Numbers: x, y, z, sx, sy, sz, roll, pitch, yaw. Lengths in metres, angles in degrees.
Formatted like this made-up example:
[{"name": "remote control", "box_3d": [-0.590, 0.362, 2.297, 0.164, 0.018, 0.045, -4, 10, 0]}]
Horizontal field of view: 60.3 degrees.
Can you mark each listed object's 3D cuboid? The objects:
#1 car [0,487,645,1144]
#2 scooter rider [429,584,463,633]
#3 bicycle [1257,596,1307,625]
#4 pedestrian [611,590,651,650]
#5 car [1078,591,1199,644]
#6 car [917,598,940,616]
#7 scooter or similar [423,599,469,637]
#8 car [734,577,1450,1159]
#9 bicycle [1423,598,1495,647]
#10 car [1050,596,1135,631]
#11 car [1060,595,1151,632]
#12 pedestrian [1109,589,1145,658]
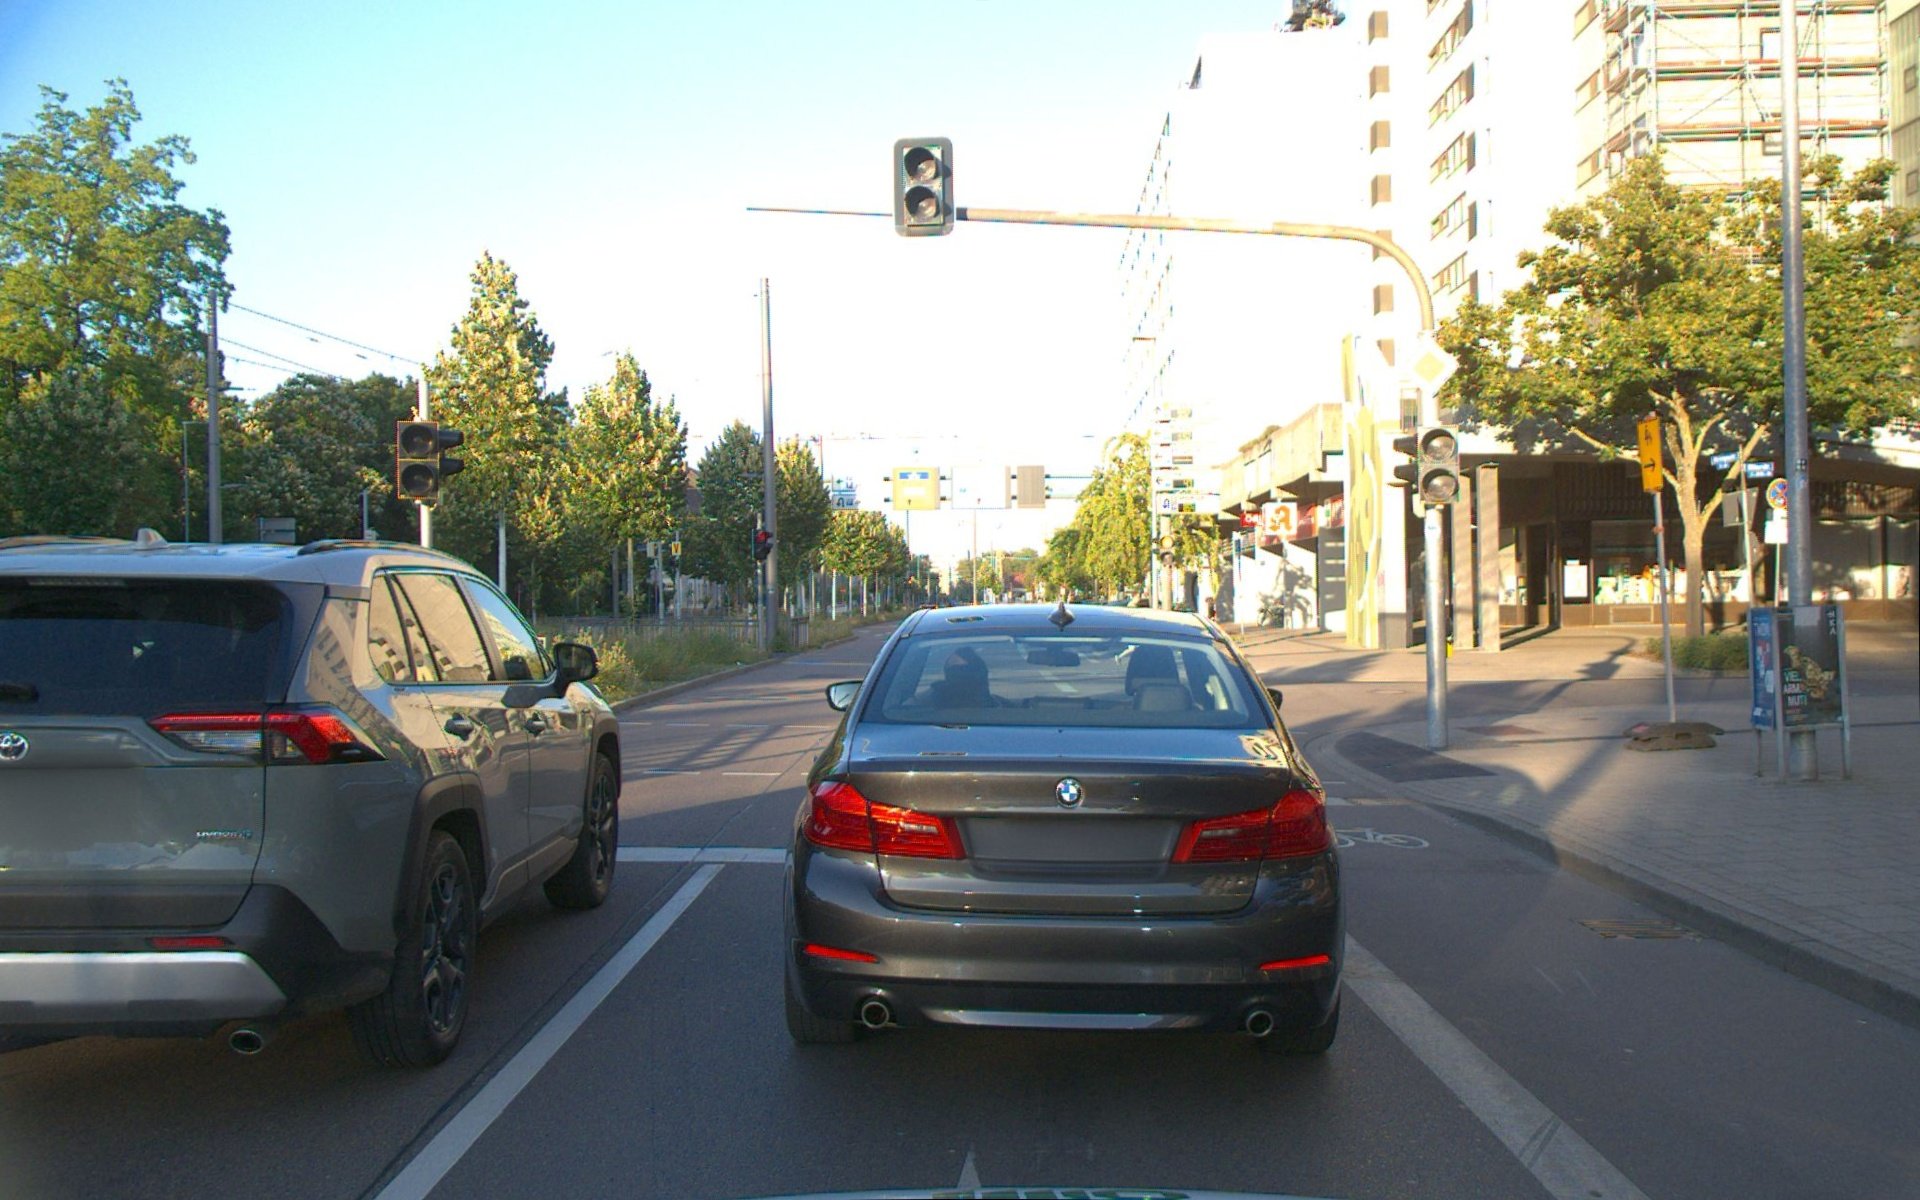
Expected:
[{"name": "car", "box_3d": [-2.492, 0.510, 6.369, 1.817, 1.687, 4.268, 0, 1, -1]}, {"name": "scooter rider", "box_3d": [-16.379, 0.266, 52.724, 0.803, 1.540, 0.653, -1, 0, 5]}, {"name": "bicycle", "box_3d": [13.467, 0.437, 69.165, 1.974, 1.169, 0.691, 2, -1, 6]}, {"name": "pedestrian", "box_3d": [-9.058, 0.541, 45.526, 0.817, 1.614, 0.813, -1, 0, 10]}, {"name": "car", "box_3d": [6.140, 0.566, 56.587, 4.234, 1.687, 1.831, -1, 1, -43]}, {"name": "car", "box_3d": [-2.811, 0.624, 146.894, 1.938, 1.458, 4.843, 0, 1, 0]}, {"name": "scooter or similar", "box_3d": [-16.369, 0.566, 52.692, 1.301, 1.173, 0.514, -1, 0, 5]}, {"name": "car", "box_3d": [0.370, 0.682, 6.656, 1.892, 1.507, 4.523, 0, 1, 0]}, {"name": "bicycle", "box_3d": [12.502, 0.562, 41.521, 0.678, 1.169, 2.012, 2, -1, -18]}, {"name": "car", "box_3d": [6.851, 0.661, 85.247, 4.219, 1.687, 1.838, 0, 1, -36]}, {"name": "car", "box_3d": [6.993, 0.631, 79.229, 4.221, 1.687, 1.837, 0, 1, -36]}, {"name": "pedestrian", "box_3d": [4.282, 0.604, 42.367, 0.818, 1.742, 0.647, -1, 0, -2]}]
